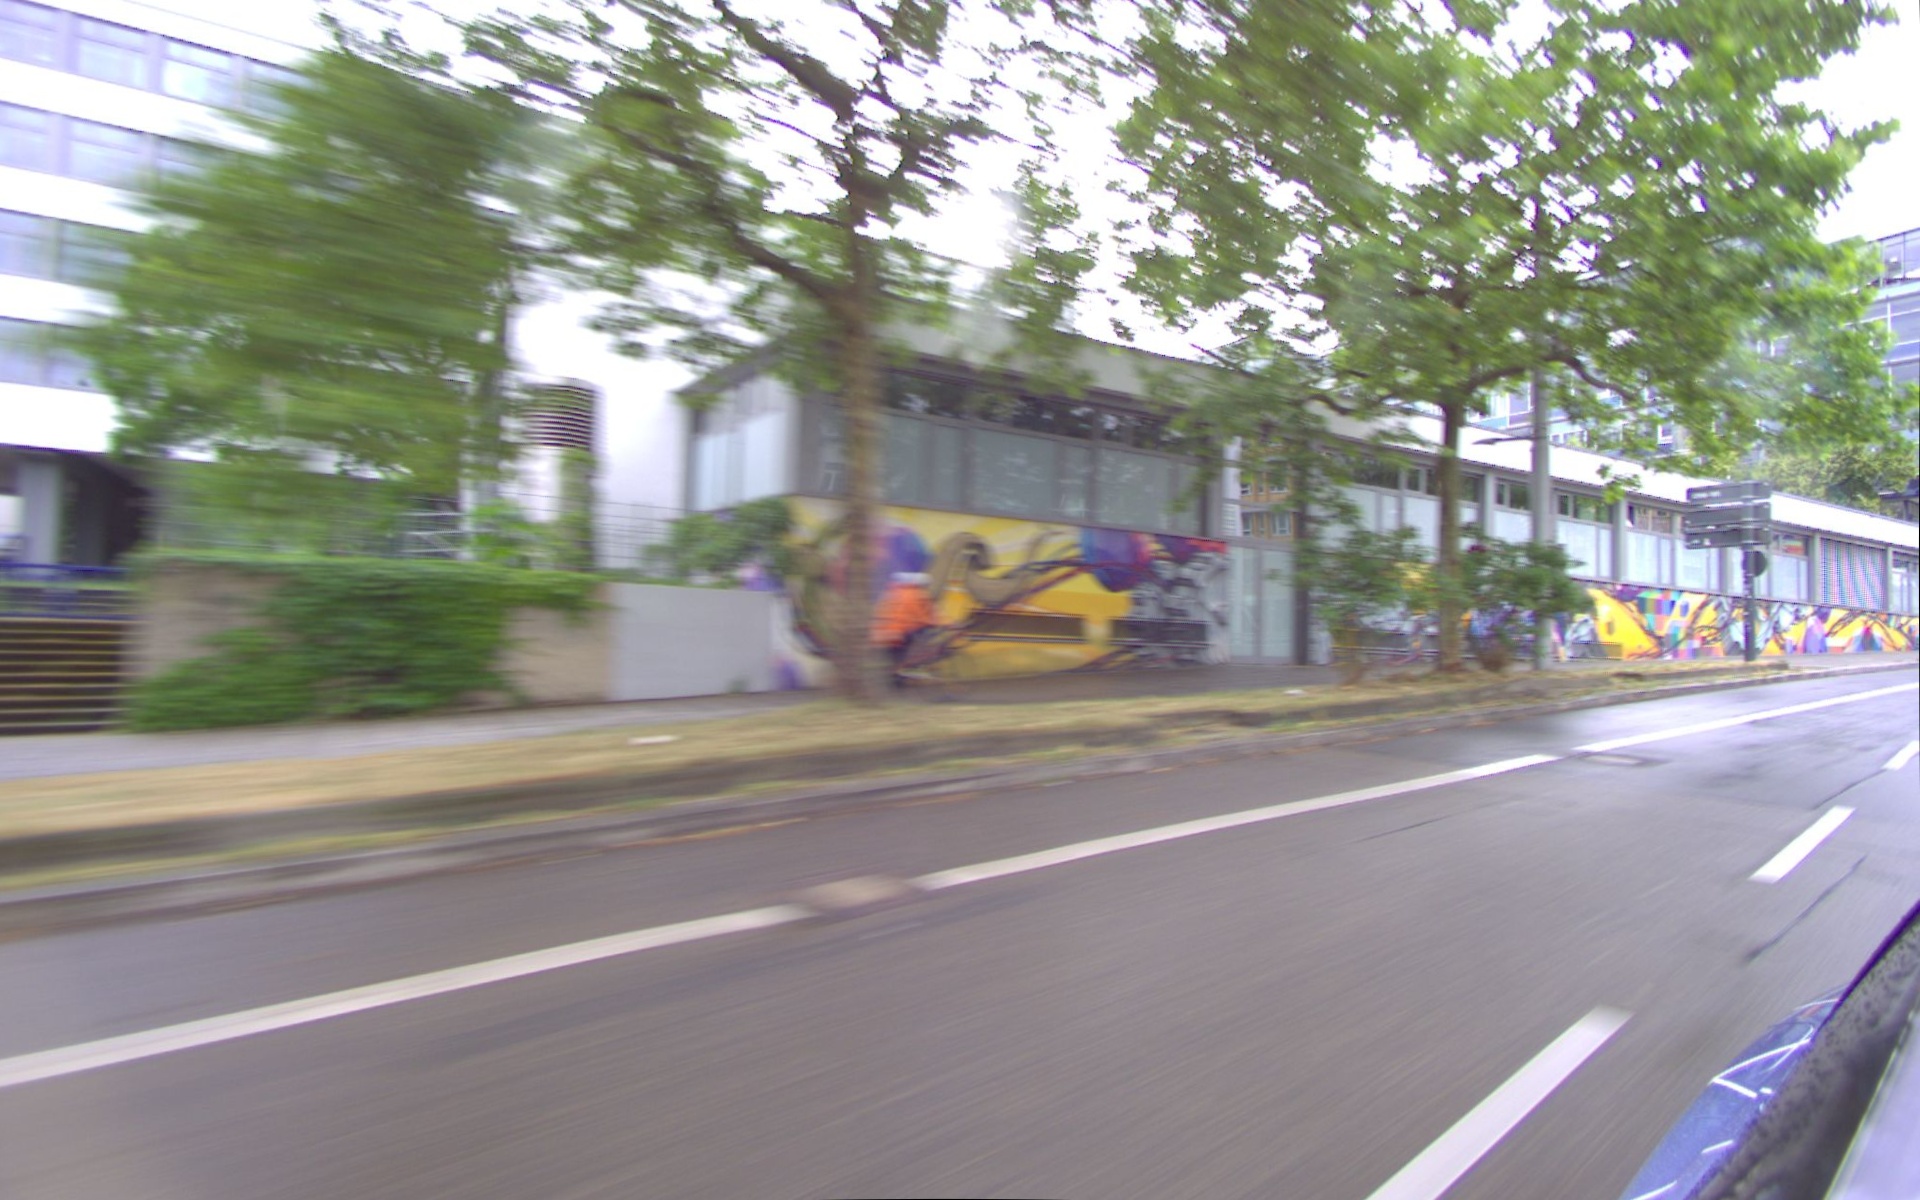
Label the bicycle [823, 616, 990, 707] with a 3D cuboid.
[{"bbox_3d":[-0.696,0.787,13.641,2.156,1.126,0.809,0,-1,-34],"label":"bicycle"}]

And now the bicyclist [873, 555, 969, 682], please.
[{"bbox_3d":[-0.533,0.245,13.763,1.026,1.649,0.809,1,-1,-34],"label":"bicyclist"}]
